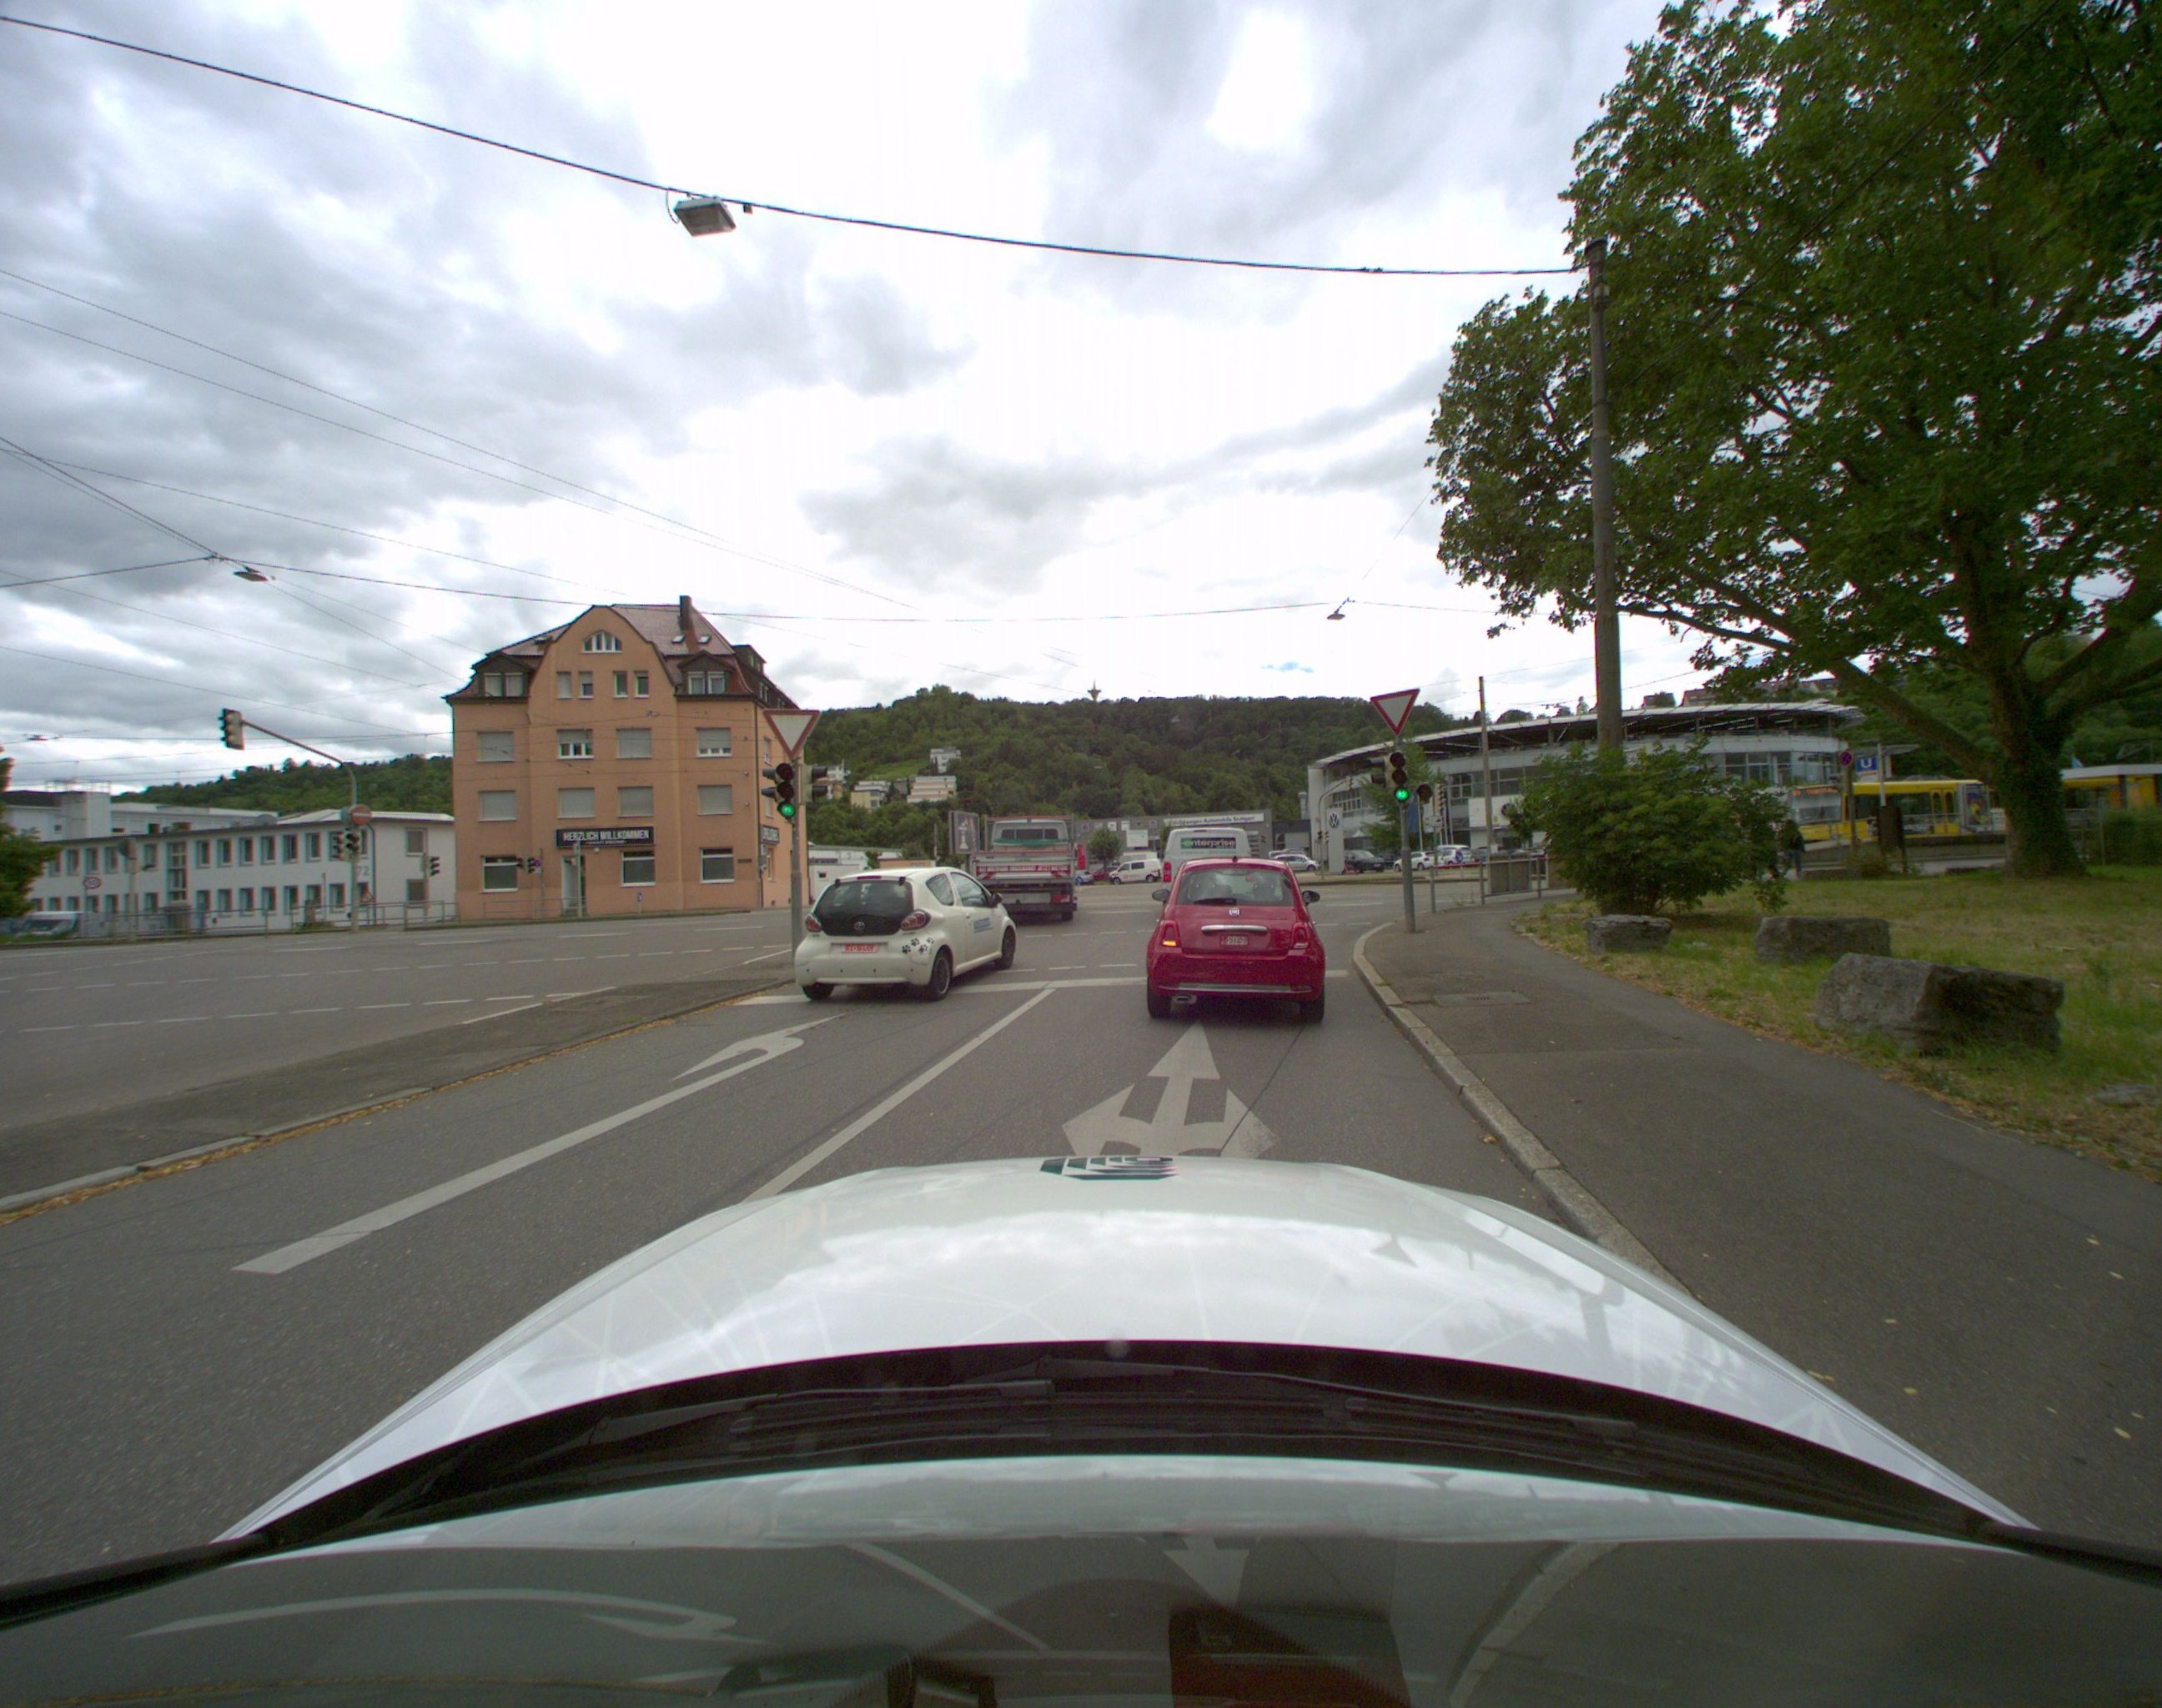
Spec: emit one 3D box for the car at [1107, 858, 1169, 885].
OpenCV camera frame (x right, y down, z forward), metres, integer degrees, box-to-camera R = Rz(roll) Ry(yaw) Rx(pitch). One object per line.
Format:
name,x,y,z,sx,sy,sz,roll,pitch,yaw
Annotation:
car,4.954,1.558,70.926,4.964,2.014,2.008,-4,-3,15

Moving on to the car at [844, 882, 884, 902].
car,-20.159,3.507,75.688,1.983,1.839,4.518,1,-2,7

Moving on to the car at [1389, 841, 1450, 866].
car,24.167,0.020,58.251,1.998,1.640,3.977,2,-2,-16

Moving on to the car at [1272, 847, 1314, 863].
car,24.119,0.125,92.720,4.468,1.729,2.005,1,-2,9

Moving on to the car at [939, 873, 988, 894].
car,-9.228,2.311,63.766,3.567,1.486,1.594,-2,-1,-17

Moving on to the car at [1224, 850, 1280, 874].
car,13.234,0.627,63.308,3.972,1.706,2.000,1,-2,1

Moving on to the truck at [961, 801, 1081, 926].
truck,-1.209,0.139,19.184,2.306,2.421,5.653,-2,1,0

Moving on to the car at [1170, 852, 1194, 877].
car,9.121,0.963,73.467,1.983,2.014,5.027,-3,-3,7

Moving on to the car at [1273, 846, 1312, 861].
car,25.360,-0.060,97.776,4.468,1.729,2.005,1,-2,9

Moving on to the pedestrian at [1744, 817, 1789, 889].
pedestrian,18.134,-0.024,21.548,0.670,1.868,0.602,2,-2,-11

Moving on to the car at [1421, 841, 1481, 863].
car,26.598,-0.119,58.676,1.812,1.477,3.977,2,-2,-16

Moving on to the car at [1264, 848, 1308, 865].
car,22.298,0.329,88.615,4.468,1.729,2.005,1,-2,9

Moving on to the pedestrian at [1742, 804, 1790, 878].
pedestrian,17.648,-0.327,20.979,0.670,1.867,0.602,-1,-2,-11

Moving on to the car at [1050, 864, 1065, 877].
car,-3.731,2.585,129.546,1.986,1.997,4.511,1,-2,2

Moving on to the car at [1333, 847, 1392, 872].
car,19.790,0.394,57.395,1.998,1.640,3.977,-1,-1,-16

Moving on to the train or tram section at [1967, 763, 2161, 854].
train or tram section,50.264,-2.297,40.501,11.885,3.967,2.737,-3,-1,-13

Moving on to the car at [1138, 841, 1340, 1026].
car,1.808,0.688,8.972,1.686,1.525,4.014,1,-1,13

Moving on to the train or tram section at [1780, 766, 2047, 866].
train or tram section,38.641,-1.764,37.804,11.885,3.967,2.737,-3,-1,-13

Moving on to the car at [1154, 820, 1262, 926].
car,2.694,0.336,18.317,1.989,2.040,4.837,1,1,4

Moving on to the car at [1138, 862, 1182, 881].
car,7.608,1.711,78.618,3.959,1.794,1.860,1,-2,13

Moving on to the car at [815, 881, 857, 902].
car,-22.715,3.459,75.715,1.982,1.839,4.520,1,-2,8

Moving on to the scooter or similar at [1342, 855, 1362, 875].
scooter or similar,18.108,0.717,54.397,1.194,1.288,0.576,1,-2,5

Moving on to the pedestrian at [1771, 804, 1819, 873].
pedestrian,17.745,-0.369,20.258,0.670,1.690,0.602,2,-2,-11

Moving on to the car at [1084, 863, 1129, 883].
car,2.665,1.968,84.676,4.468,1.997,2.005,1,-2,10

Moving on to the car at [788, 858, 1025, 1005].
car,-1.970,0.833,10.197,1.583,1.420,3.385,-4,-1,12

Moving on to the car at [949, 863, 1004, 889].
car,-9.375,1.958,72.949,4.508,2.243,1.987,2,-2,-19

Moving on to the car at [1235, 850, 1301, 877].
car,12.450,0.584,54.191,3.951,1.639,2.012,0,2,24

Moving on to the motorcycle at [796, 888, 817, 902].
motorcycle,-19.654,2.944,58.281,1.687,0.984,0.532,0,-2,36

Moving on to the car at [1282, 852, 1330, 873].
car,22.475,0.868,81.360,4.468,1.997,2.005,1,-2,10

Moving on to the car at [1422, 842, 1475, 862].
car,32.053,-0.137,71.088,1.930,1.554,3.967,2,-2,-25

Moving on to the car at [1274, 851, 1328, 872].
car,19.874,0.671,73.724,4.468,1.729,2.005,1,-2,9
